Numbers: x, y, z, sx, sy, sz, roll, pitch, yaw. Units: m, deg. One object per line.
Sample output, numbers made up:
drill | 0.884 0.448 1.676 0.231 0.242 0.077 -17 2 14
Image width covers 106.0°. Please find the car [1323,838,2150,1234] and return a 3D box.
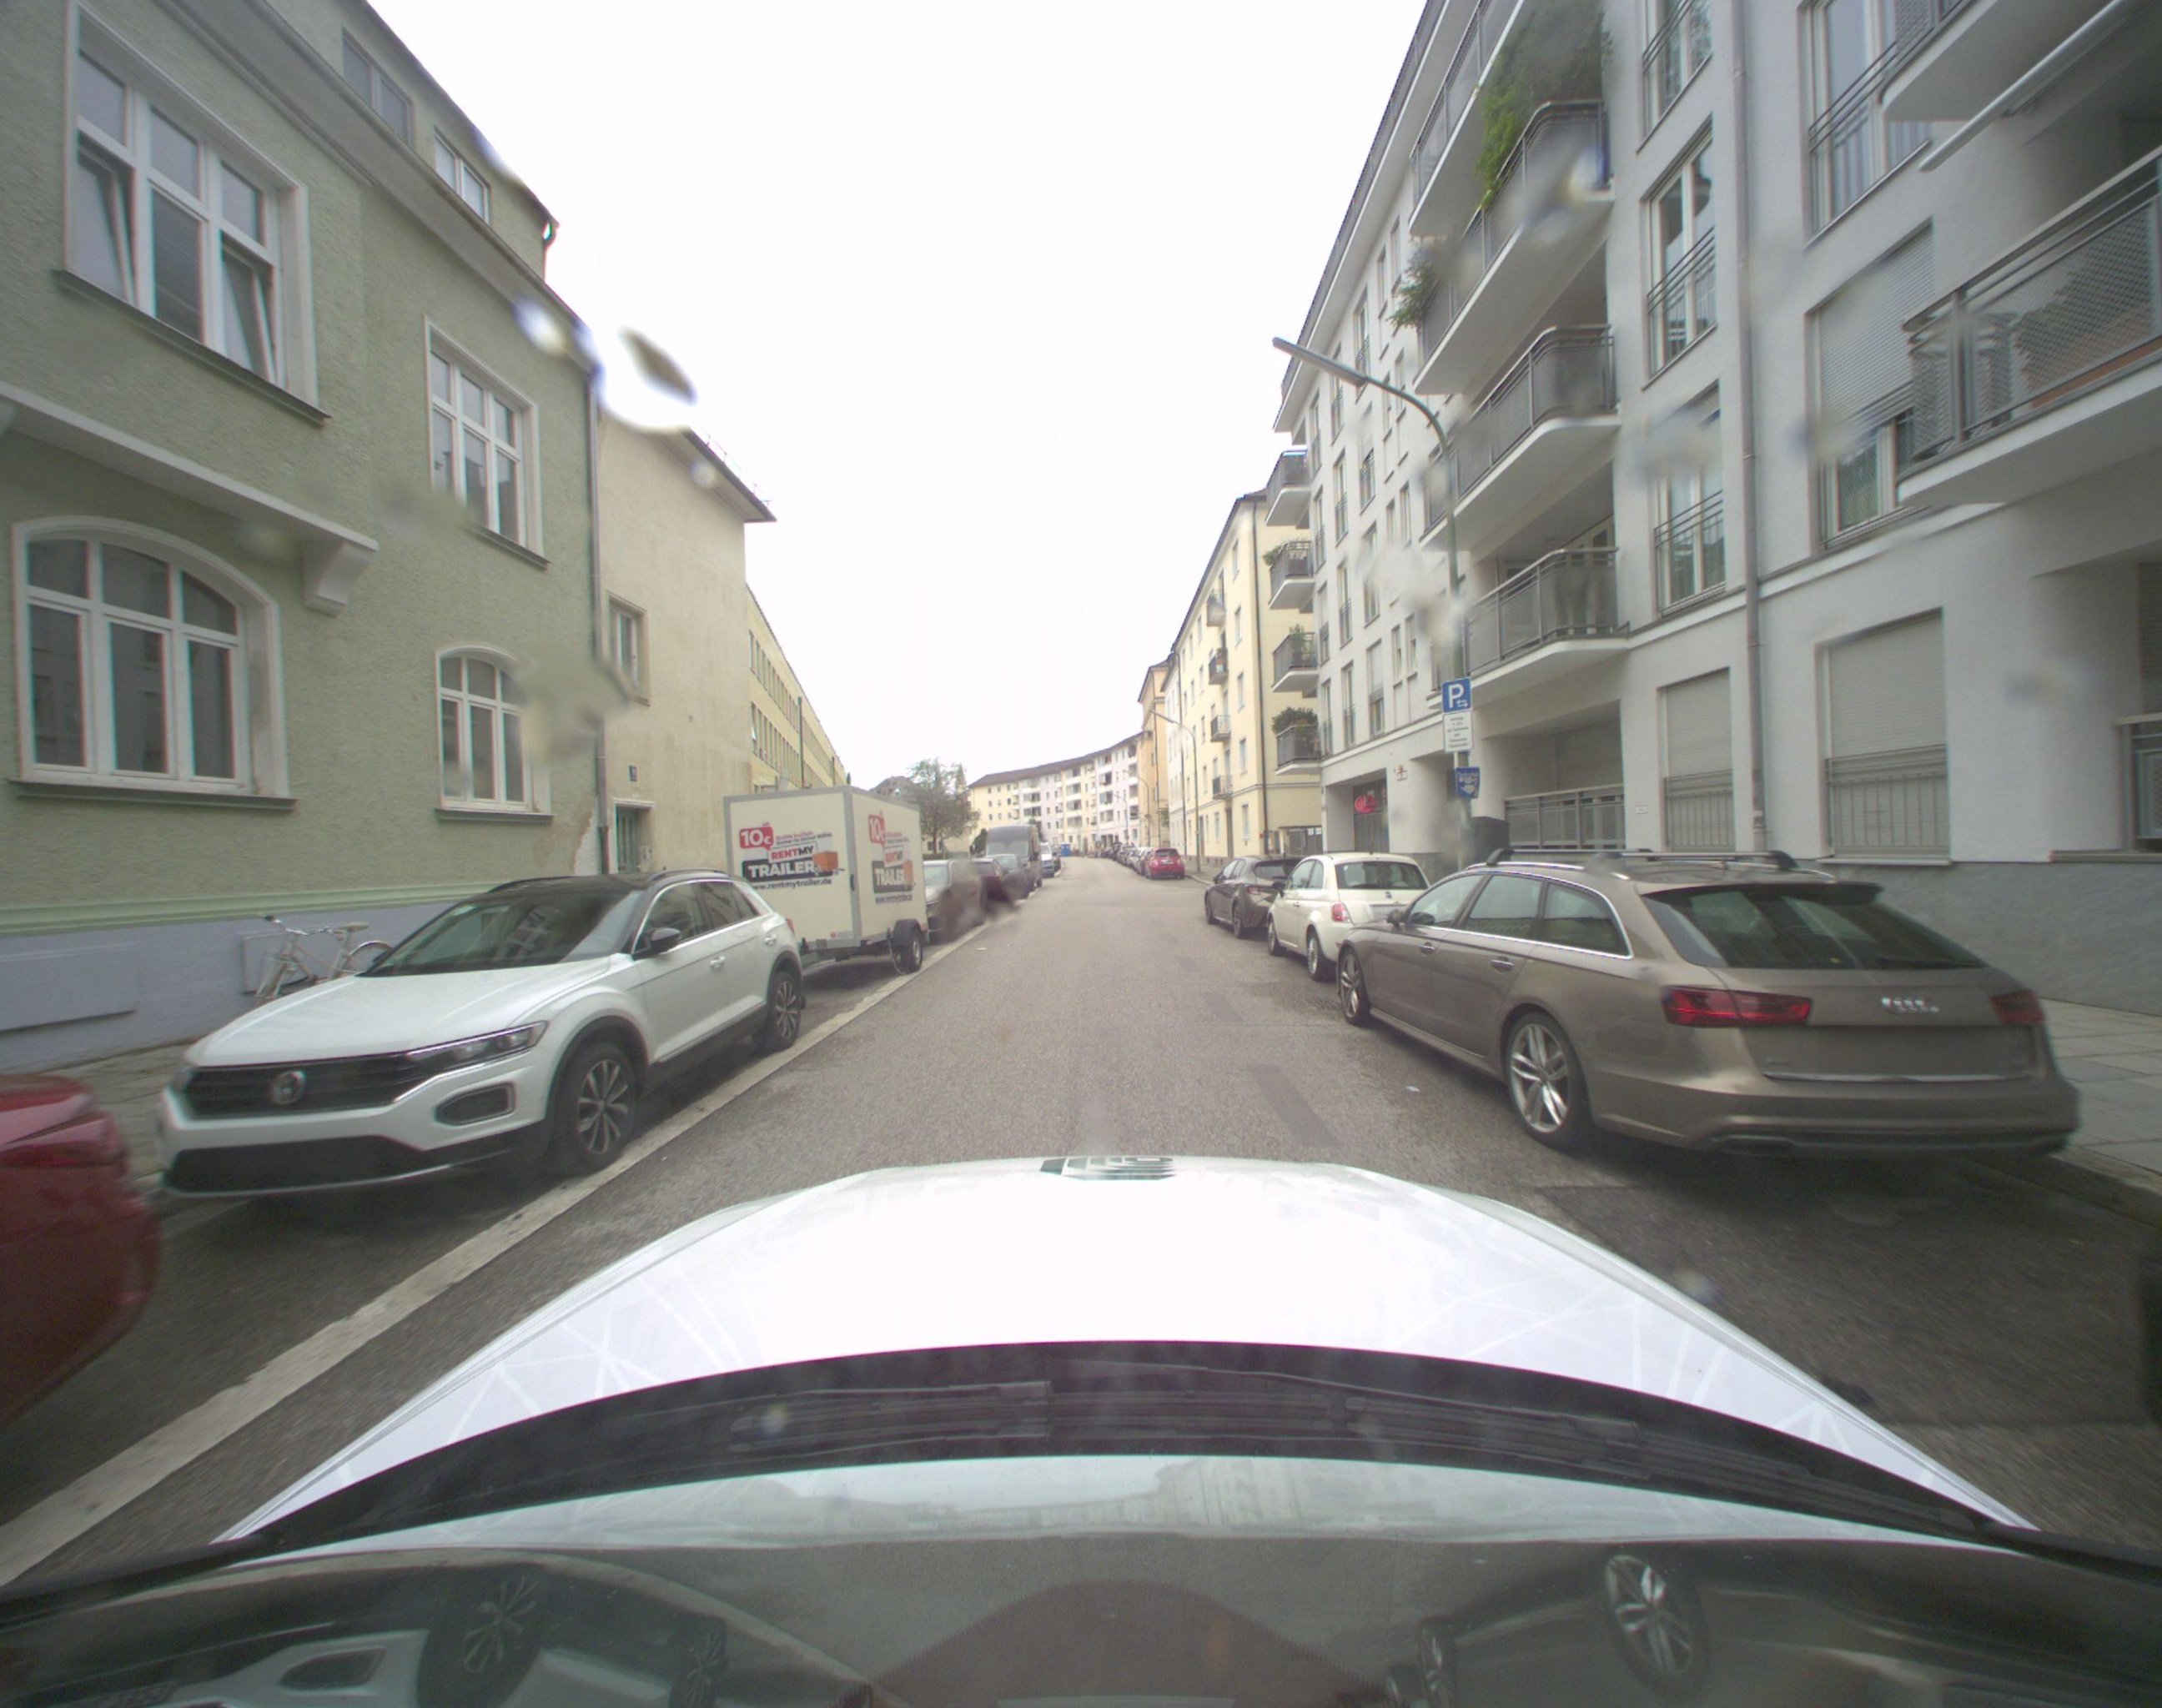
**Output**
car | 3.197 0.675 5.411 1.785 1.482 4.602 -1 0 0

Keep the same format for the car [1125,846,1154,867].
car | 4.307 0.134 60.165 1.719 1.450 4.185 -1 1 -1

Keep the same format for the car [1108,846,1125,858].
car | 4.112 -0.265 95.440 1.627 1.417 3.676 -1 1 -3

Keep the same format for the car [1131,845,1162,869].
car | 4.366 0.167 54.842 1.646 1.543 3.991 -1 1 -2

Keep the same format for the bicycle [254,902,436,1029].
bicycle | -7.411 1.075 8.296 0.459 1.084 1.523 0 0 0

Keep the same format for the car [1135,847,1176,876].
car | 3.997 0.390 44.340 1.767 1.429 4.614 -1 1 0

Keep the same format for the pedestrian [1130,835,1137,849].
pedestrian | 6.424 -1.503 100.047 0.615 1.690 0.919 -5 0 0

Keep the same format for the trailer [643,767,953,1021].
trailer | -3.297 0.405 10.696 1.967 2.471 4.582 -5 0 4

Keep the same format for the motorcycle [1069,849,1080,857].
motorcycle | -1.078 -0.216 133.989 0.936 1.221 2.487 -2 0 -24

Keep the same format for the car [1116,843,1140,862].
car | 4.338 -0.132 74.969 1.841 1.663 4.496 -1 1 -1

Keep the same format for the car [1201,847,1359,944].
car | 3.478 0.636 15.031 1.766 1.475 4.215 -2 1 -1

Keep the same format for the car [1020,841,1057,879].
car | -2.401 0.285 45.915 1.910 1.960 4.956 -2 1 -3

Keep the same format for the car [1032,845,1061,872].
car | -2.374 0.290 56.221 1.709 1.689 4.141 -3 1 0

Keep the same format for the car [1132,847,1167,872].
car | 4.158 0.303 49.913 1.719 1.429 4.292 -1 1 -1

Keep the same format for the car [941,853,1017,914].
car | -2.819 0.767 23.301 1.671 1.436 4.283 -4 1 -2

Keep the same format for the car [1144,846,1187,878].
car | 4.021 0.351 39.362 1.650 1.429 3.755 -1 1 -1

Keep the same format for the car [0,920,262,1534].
car | -3.429 0.966 0.270 1.740 1.368 4.403 -3 1 1

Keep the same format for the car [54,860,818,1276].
car | -3.310 0.897 5.403 1.673 1.530 4.107 -3 1 1

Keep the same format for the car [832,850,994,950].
car | -3.139 0.775 16.397 1.856 1.541 5.096 -4 1 3

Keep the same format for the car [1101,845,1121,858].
car | 3.738 -0.335 101.704 1.904 1.477 4.939 -1 1 -4

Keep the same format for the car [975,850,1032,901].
car | -2.582 0.681 27.900 1.649 1.497 3.905 -4 1 -3

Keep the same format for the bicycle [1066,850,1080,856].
bicycle | -1.335 -0.159 142.052 2.243 1.069 0.912 -2 0 -24

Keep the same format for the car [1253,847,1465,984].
car | 3.483 0.670 10.909 1.611 1.467 3.747 -1 1 1

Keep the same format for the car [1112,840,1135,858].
car | 4.393 -0.534 85.230 2.163 1.739 5.024 -1 1 0

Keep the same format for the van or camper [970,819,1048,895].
van or camper | -2.792 0.090 32.932 2.284 2.650 5.564 -4 0 2
